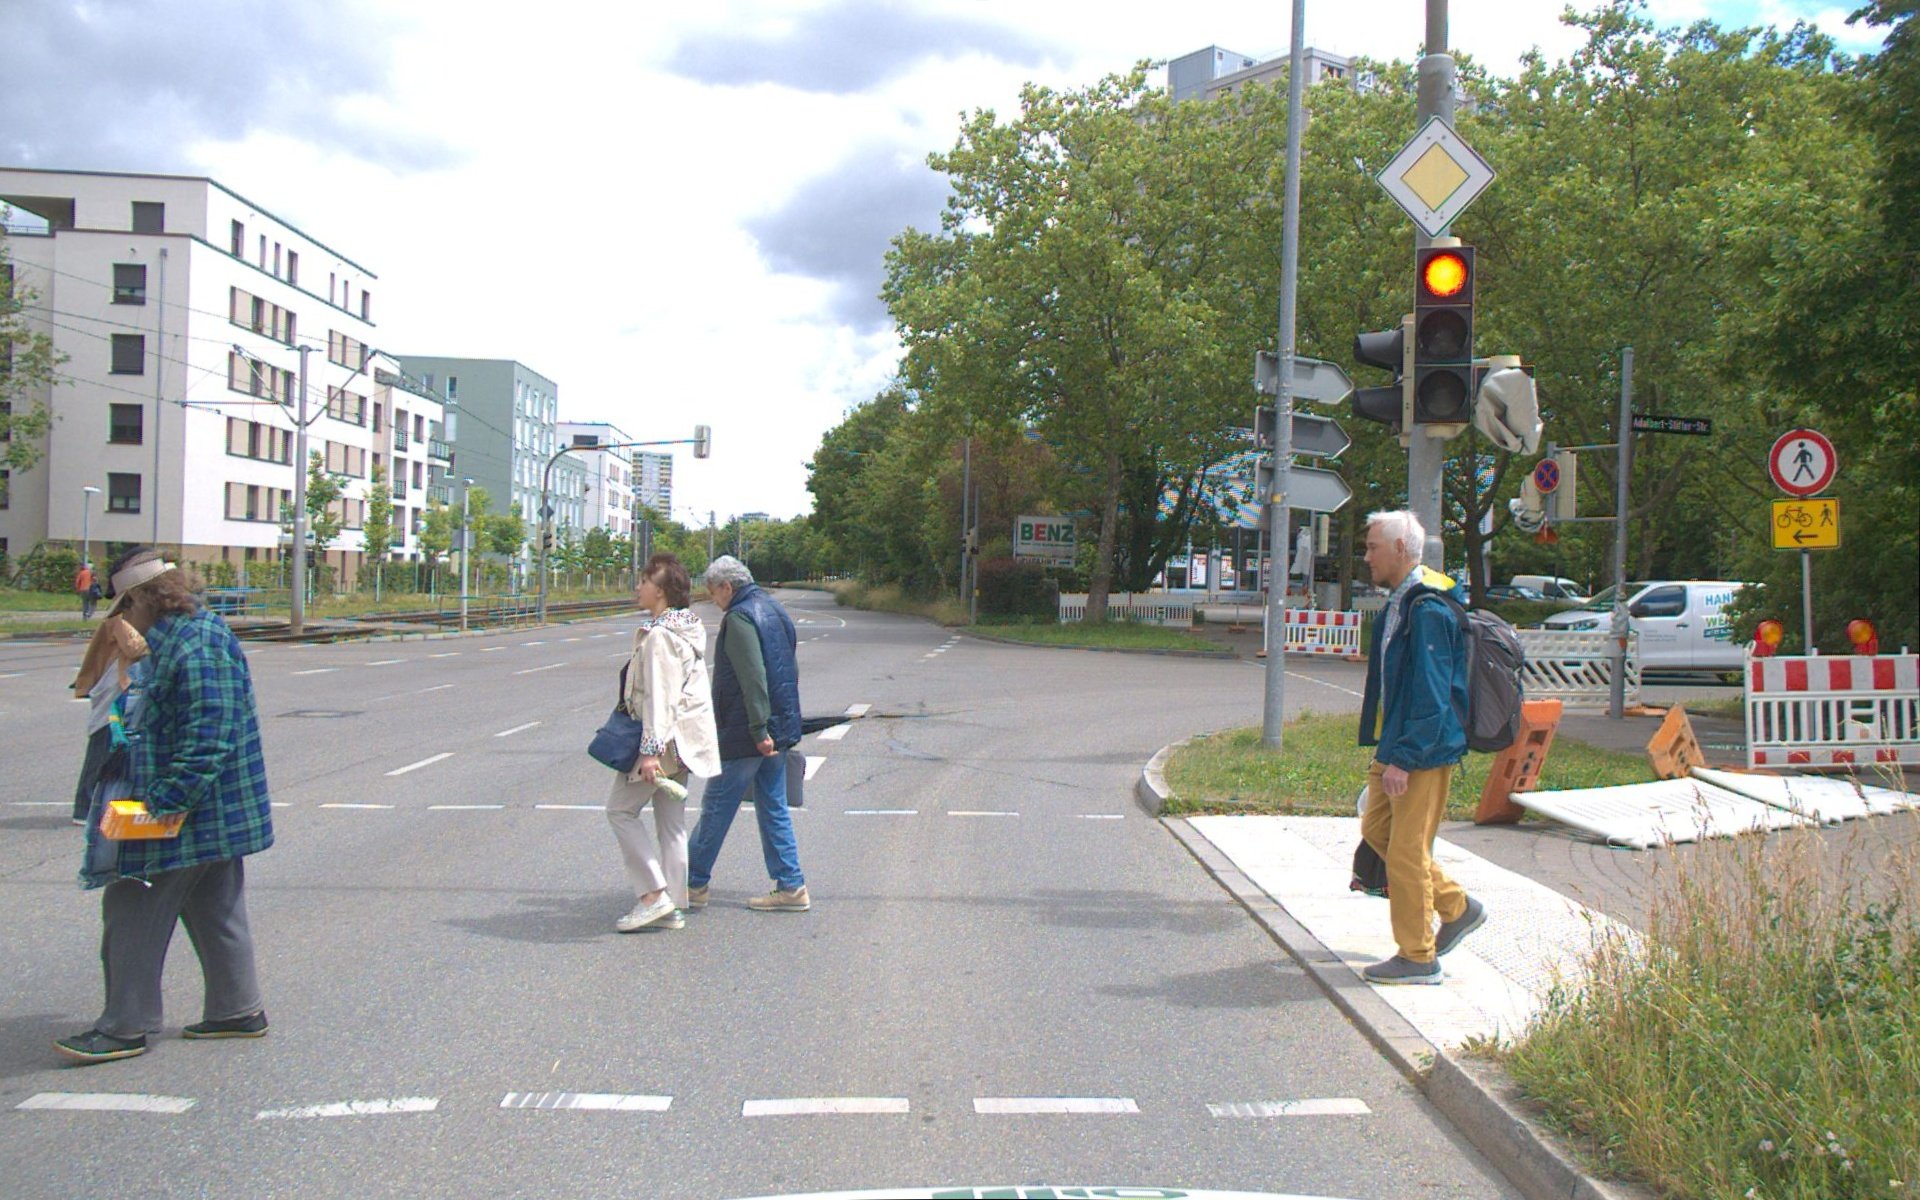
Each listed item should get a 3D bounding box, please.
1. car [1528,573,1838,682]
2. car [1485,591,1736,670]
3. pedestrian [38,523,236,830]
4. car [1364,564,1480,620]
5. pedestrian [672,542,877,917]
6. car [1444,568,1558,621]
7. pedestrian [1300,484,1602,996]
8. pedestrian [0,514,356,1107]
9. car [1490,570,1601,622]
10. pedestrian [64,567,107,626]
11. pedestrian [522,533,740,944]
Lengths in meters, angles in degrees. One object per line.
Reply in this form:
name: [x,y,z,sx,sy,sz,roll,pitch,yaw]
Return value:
car: [13.429,0.497,30.872,4.976,1.906,1.947,1,0,-5]
car: [13.350,0.601,34.111,4.386,1.512,1.988,1,0,-2]
pedestrian: [-4.950,0.441,10.001,0.766,1.773,0.828,1,0,-1]
car: [17.521,-0.319,62.839,1.974,2.049,3.957,0,1,-32]
pedestrian: [-0.846,0.573,7.758,0.850,1.663,0.765,1,0,0]
car: [21.365,-0.240,65.473,1.974,2.049,3.957,0,1,-32]
pedestrian: [1.847,0.486,6.392,0.988,1.805,0.949,1,0,9]
pedestrian: [-2.406,0.604,5.133,0.806,1.700,0.733,1,0,-4]
car: [23.932,-0.188,67.710,1.974,2.049,3.957,0,1,-32]
pedestrian: [-23.263,-0.090,44.002,0.814,1.542,0.636,1,0,-1]
pedestrian: [-1.387,0.562,7.093,0.806,1.668,0.733,1,0,-4]
